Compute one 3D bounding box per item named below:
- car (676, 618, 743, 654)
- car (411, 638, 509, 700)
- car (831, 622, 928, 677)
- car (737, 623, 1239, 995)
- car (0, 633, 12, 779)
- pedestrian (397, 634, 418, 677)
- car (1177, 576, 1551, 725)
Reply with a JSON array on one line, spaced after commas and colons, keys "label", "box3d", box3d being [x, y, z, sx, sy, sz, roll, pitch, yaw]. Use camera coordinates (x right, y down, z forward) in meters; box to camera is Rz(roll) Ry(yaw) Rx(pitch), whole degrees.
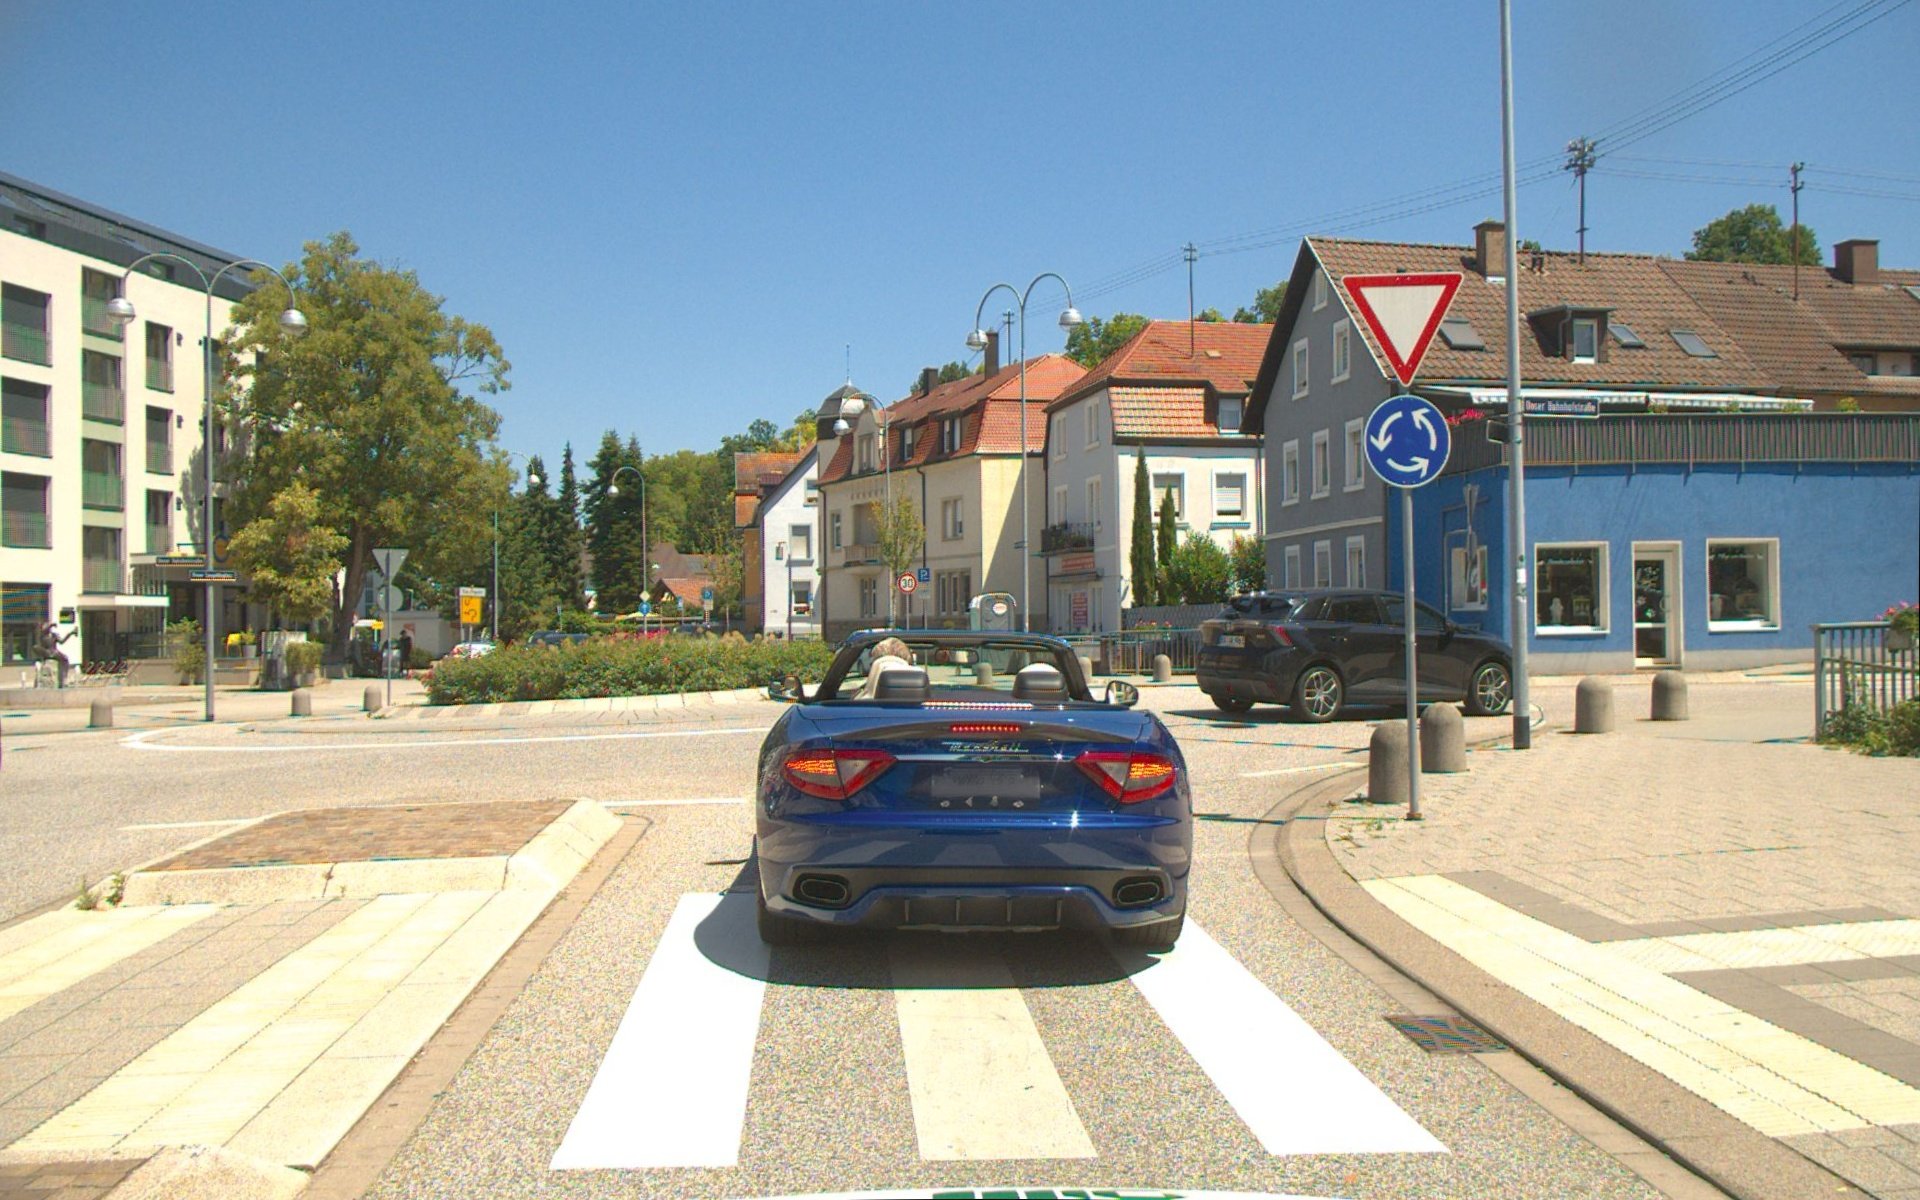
[{"label": "car", "box3d": [-12.089, 1.760, 79.603, 1.832, 1.616, 3.957, -2, -1, -31]}, {"label": "car", "box3d": [-13.473, 1.826, 44.775, 1.956, 1.536, 3.992, -1, -1, -9]}, {"label": "car", "box3d": [-2.604, 1.598, 52.706, 1.891, 1.641, 4.122, -1, -2, -21]}, {"label": "car", "box3d": [0.118, 0.810, 8.325, 1.871, 1.384, 4.285, 0, -1, 0]}, {"label": "car", "box3d": [-10.159, 1.100, 15.742, 1.555, 1.475, 3.444, -3, 0, -24]}, {"label": "pedestrian", "box3d": [-21.153, 2.112, 63.282, 0.523, 1.603, 0.563, -2, -1, 10]}, {"label": "car", "box3d": [4.902, 0.541, 20.040, 4.194, 1.574, 1.797, -2, 1, -25]}]
